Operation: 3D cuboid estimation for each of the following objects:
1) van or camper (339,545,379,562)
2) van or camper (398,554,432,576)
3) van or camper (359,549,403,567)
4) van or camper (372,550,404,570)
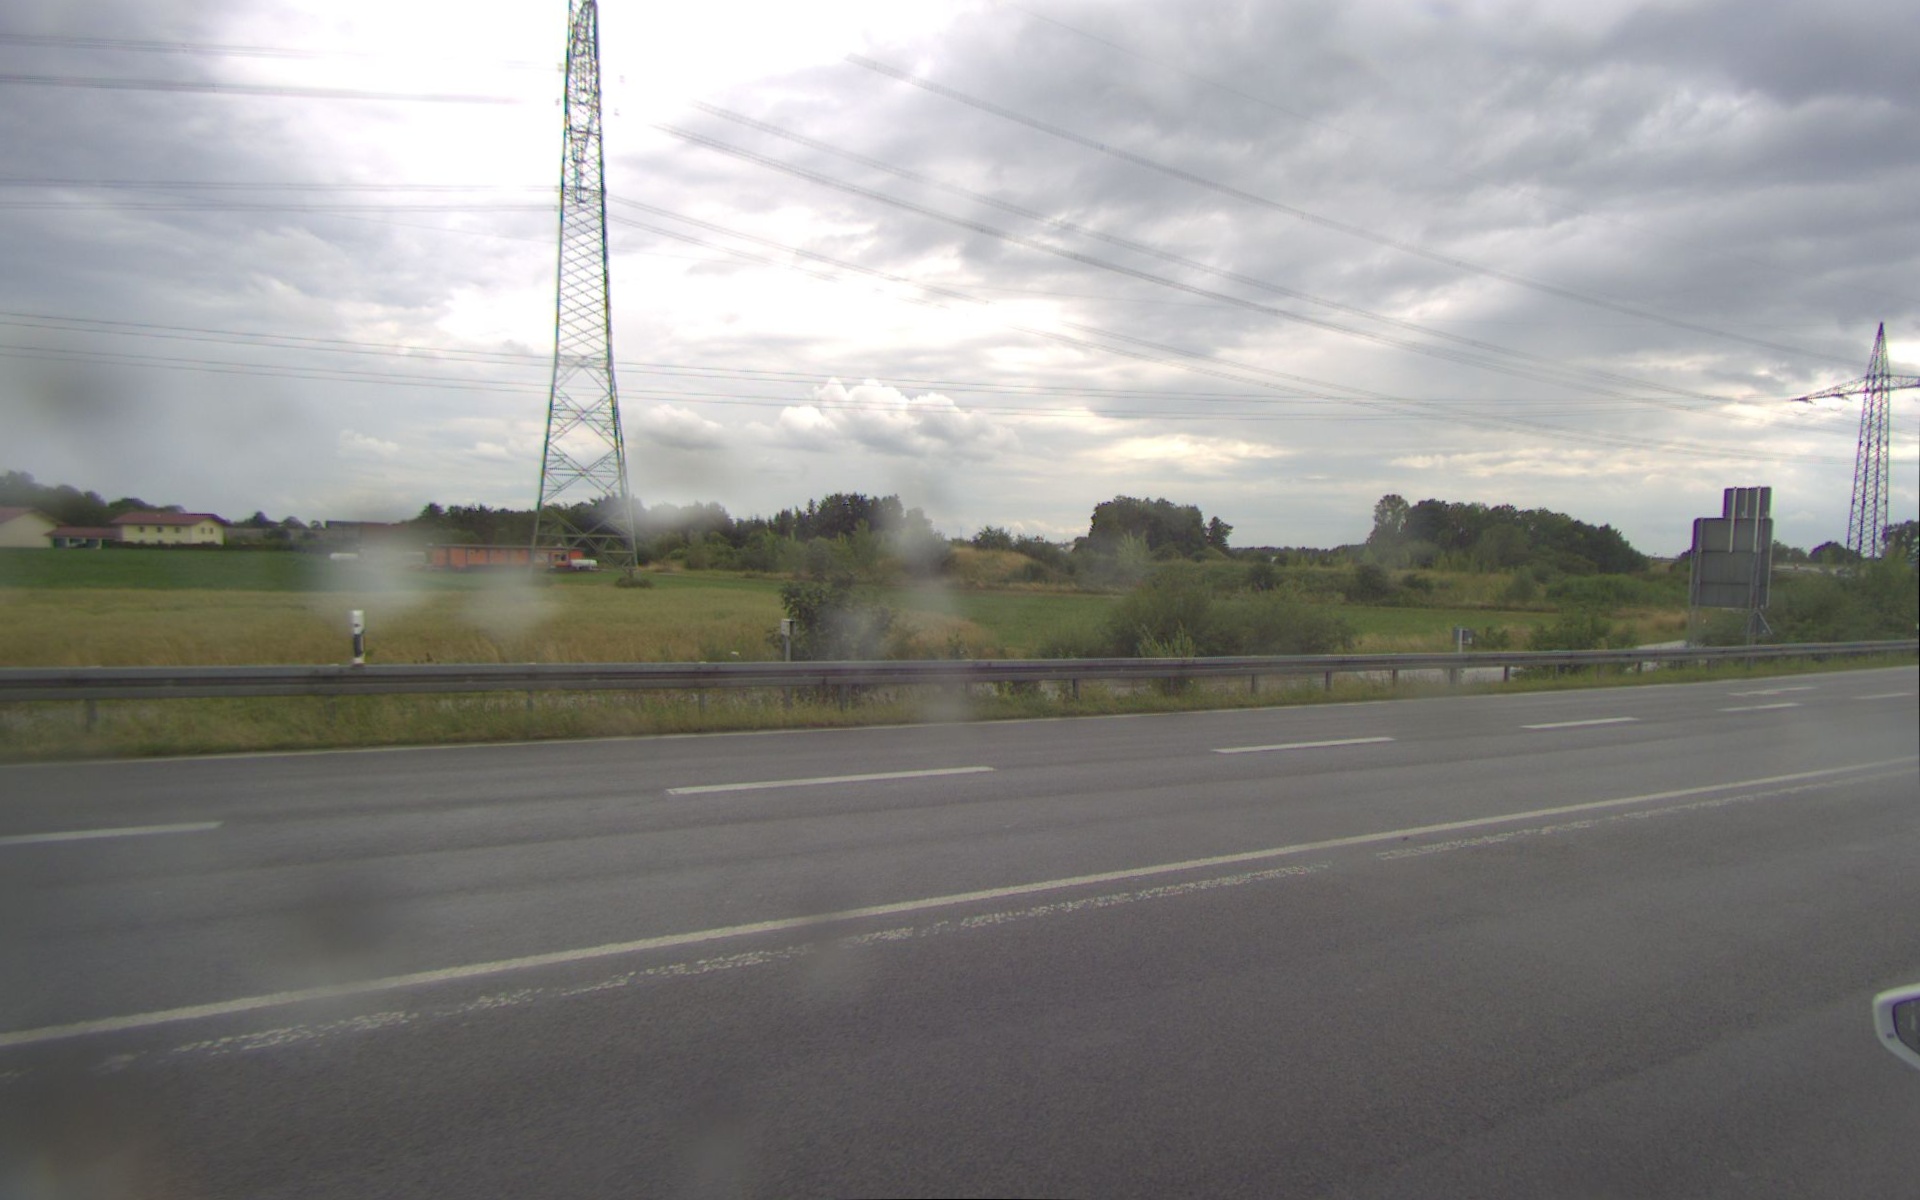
[{"bbox_3d":[-104.279,-8.041,174.235,5.675,2.668,2.299,0,4,-42],"label":"van or camper"},{"bbox_3d":[-75.005,-4.821,138.237,5.632,2.668,2.317,6,4,41],"label":"van or camper"},{"bbox_3d":[-92.346,-6.688,160.187,5.675,2.668,2.299,0,4,-42],"label":"van or camper"},{"bbox_3d":[-84.940,-5.914,149.051,5.632,2.668,2.317,6,4,41],"label":"van or camper"}]
